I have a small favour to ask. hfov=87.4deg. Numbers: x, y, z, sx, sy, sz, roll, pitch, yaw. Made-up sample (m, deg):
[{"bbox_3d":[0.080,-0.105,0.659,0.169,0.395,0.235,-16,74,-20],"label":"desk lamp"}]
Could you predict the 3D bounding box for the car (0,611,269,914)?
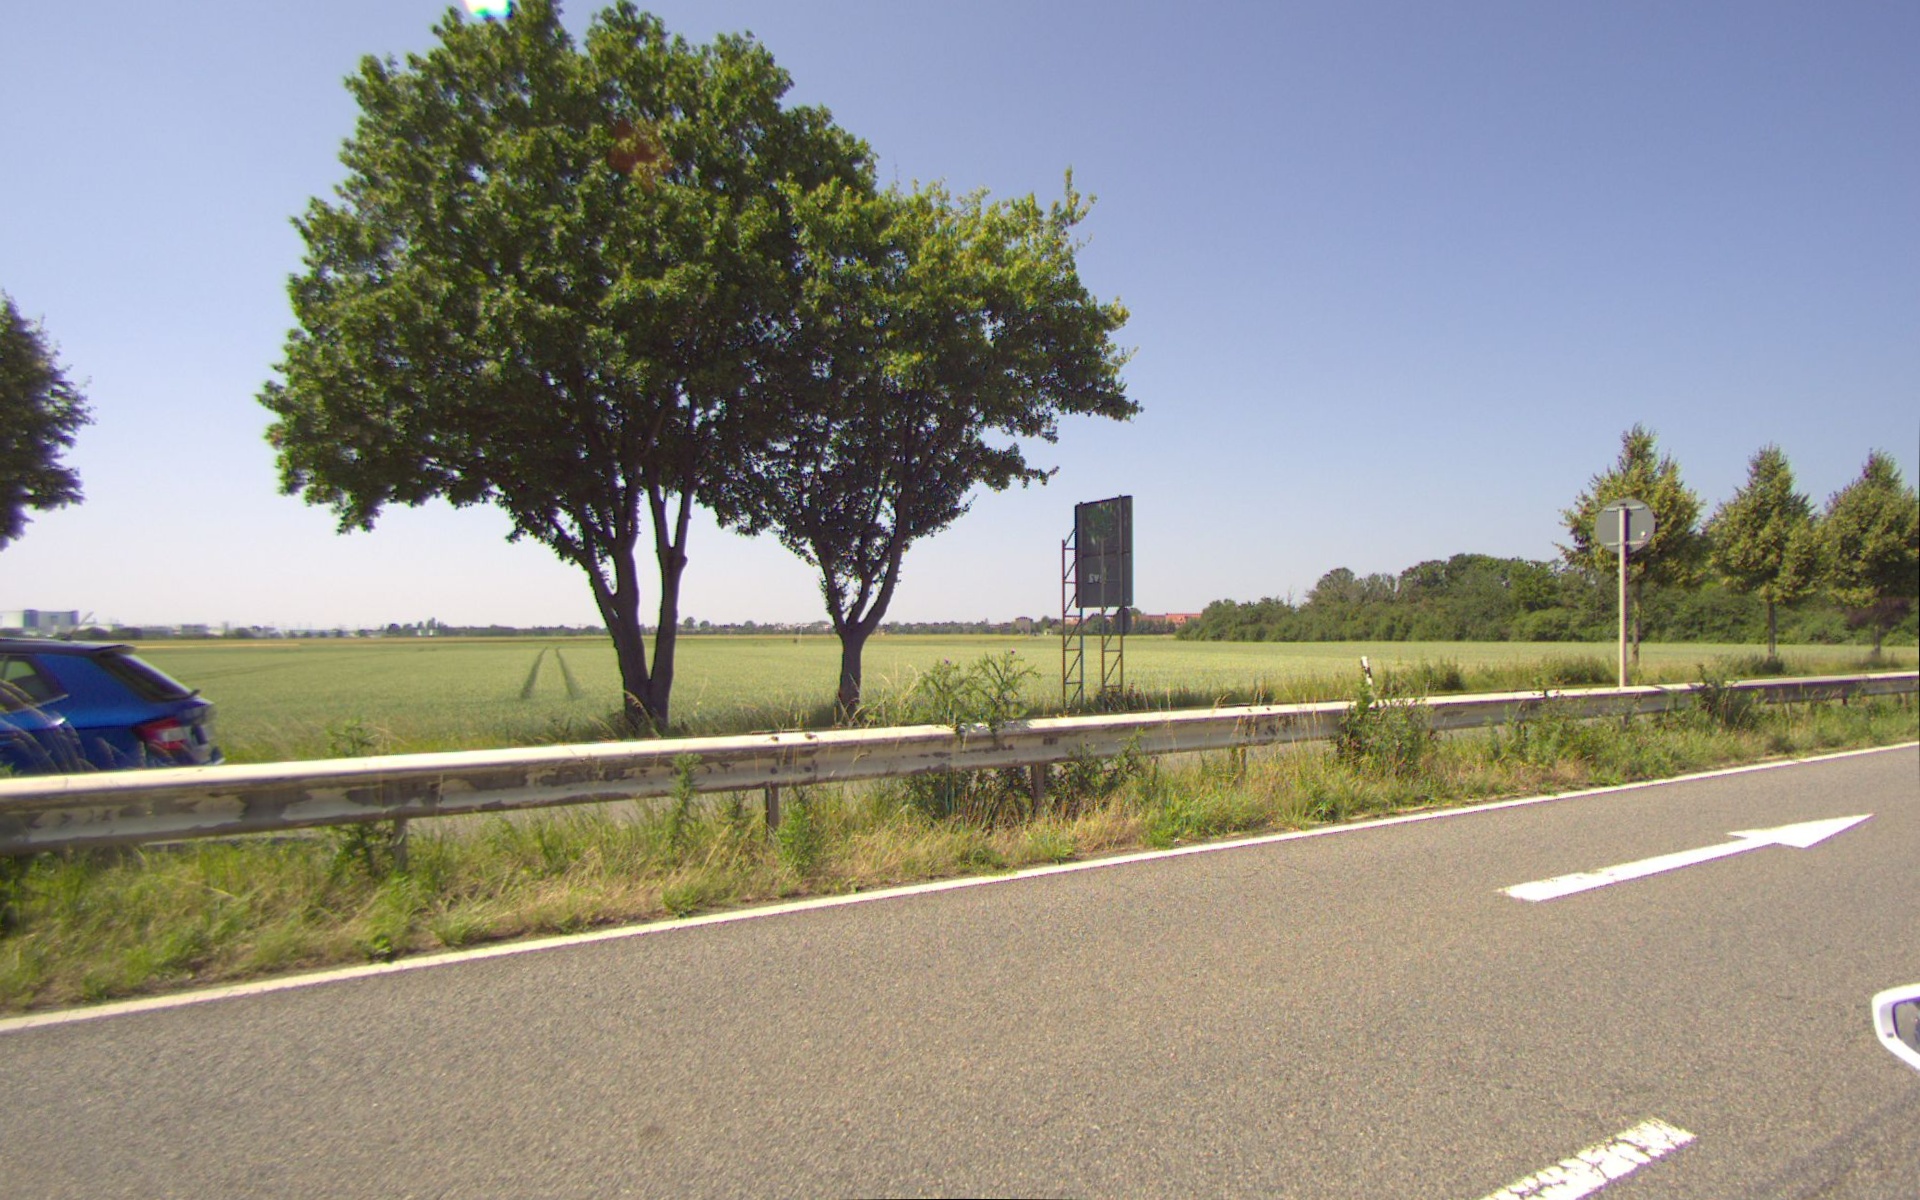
[{"bbox_3d":[-6.816,0.914,5.855,4.429,1.684,1.984,1,-2,-31],"label":"car"}]
